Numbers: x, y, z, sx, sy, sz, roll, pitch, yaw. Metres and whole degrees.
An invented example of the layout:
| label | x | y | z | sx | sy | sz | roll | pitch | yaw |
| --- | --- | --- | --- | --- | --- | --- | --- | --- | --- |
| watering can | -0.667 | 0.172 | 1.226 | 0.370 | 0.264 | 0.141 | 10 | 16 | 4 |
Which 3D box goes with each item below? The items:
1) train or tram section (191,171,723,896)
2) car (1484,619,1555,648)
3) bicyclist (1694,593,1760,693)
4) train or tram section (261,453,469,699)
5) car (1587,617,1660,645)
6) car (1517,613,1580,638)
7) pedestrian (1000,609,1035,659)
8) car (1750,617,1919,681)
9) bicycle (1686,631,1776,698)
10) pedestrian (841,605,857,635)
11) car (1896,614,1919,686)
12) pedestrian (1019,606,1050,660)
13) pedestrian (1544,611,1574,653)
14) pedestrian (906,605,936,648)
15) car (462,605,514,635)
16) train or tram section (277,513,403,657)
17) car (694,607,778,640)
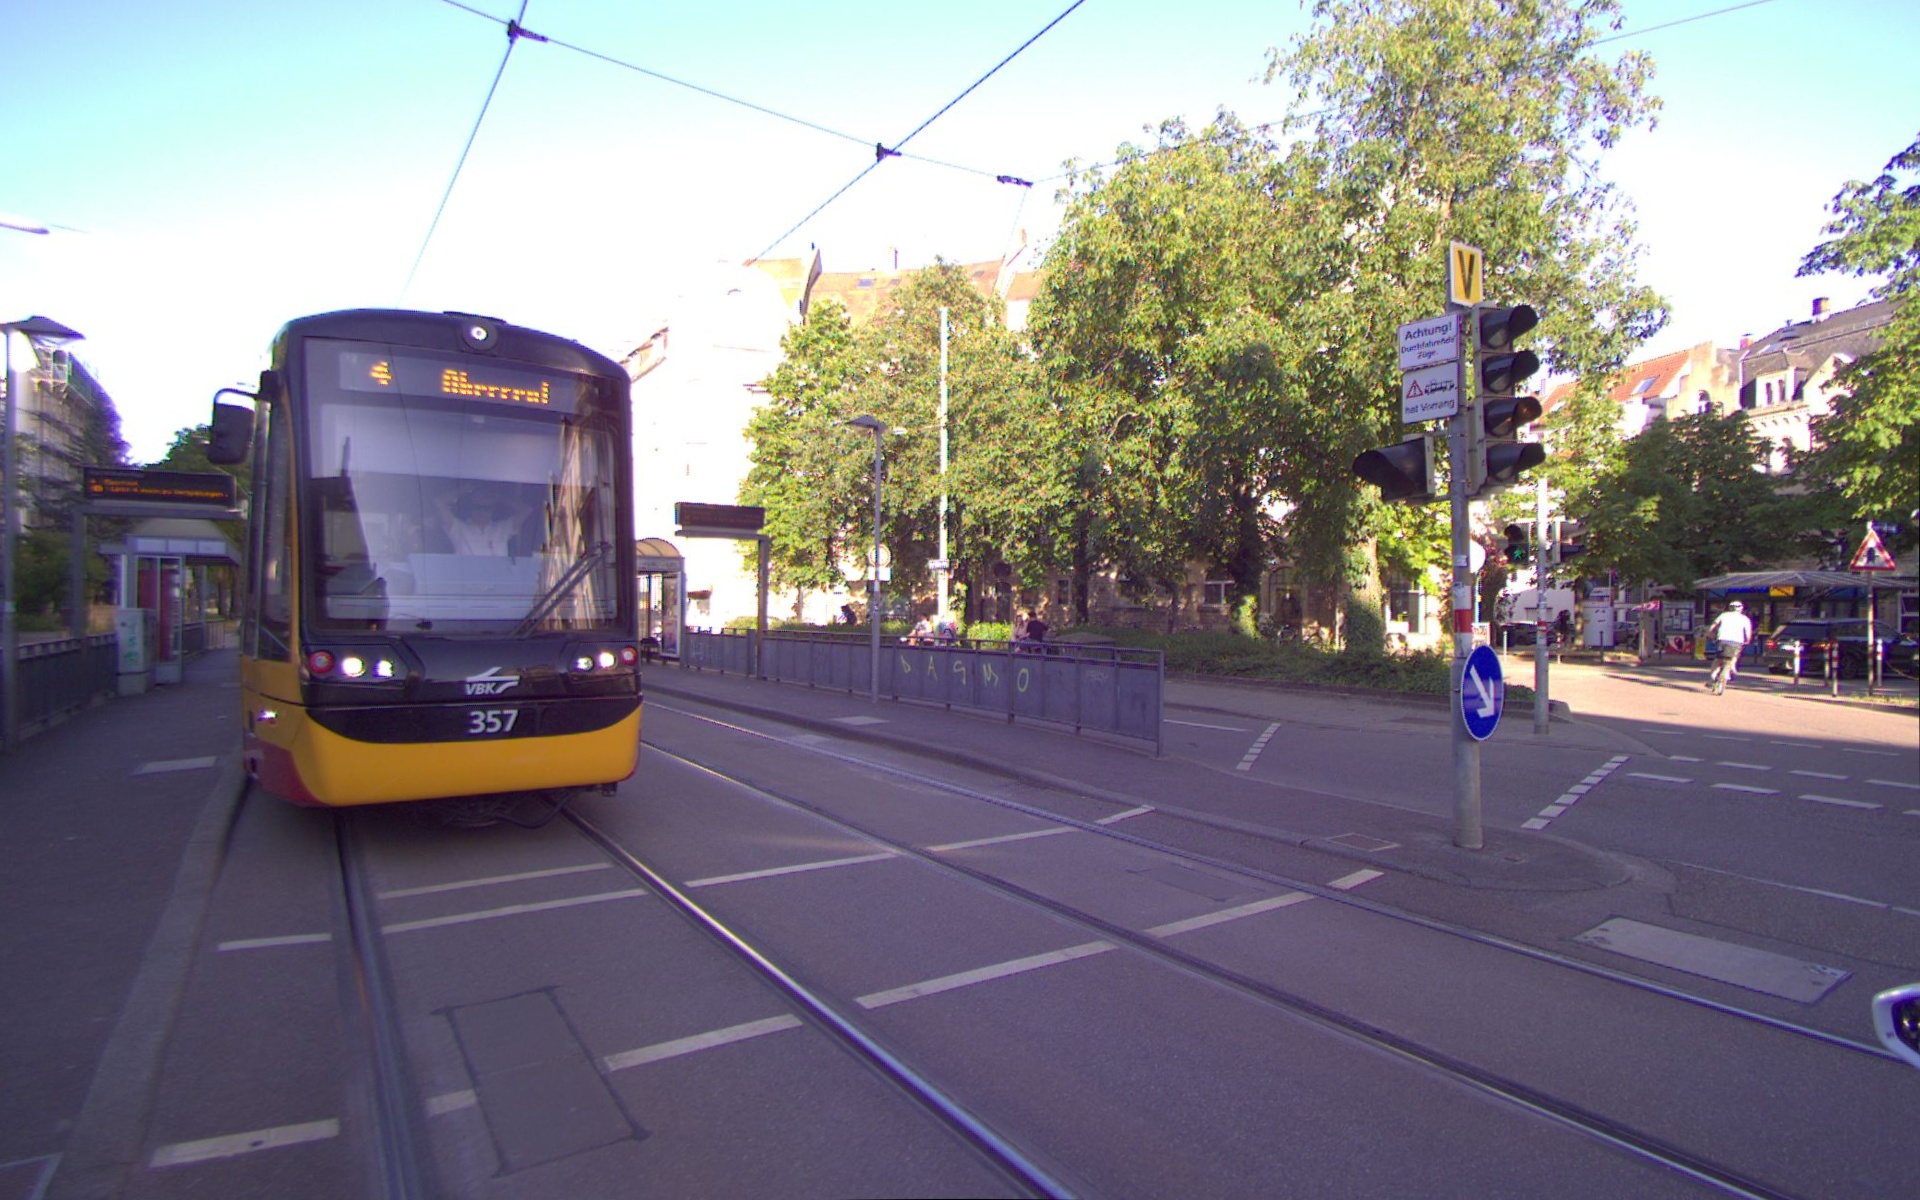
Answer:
| label | x | y | z | sx | sy | sz | roll | pitch | yaw |
| --- | --- | --- | --- | --- | --- | --- | --- | --- | --- |
| train or tram section | -5.948 | -0.321 | 10.746 | 2.771 | 3.668 | 11.690 | 1 | 0 | -33 |
| car | 32.069 | 1.891 | 57.702 | 1.642 | 1.519 | 3.566 | 2 | 0 | -10 |
| bicyclist | 15.340 | 0.834 | 20.108 | 0.781 | 1.939 | 0.945 | 1 | 0 | 21 |
| train or tram section | -12.562 | -0.341 | 20.767 | 2.757 | 3.635 | 12.304 | 1 | 0 | -33 |
| car | 39.562 | 1.853 | 60.002 | 1.642 | 1.519 | 3.566 | 2 | 0 | -10 |
| car | 38.243 | 1.625 | 65.329 | 1.641 | 1.519 | 3.568 | 2 | 0 | -8 |
| pedestrian | 1.590 | 0.934 | 27.825 | 0.806 | 1.361 | 0.666 | 1 | 0 | -16 |
| car | 23.064 | 1.261 | 26.312 | 3.795 | 1.562 | 1.790 | 1 | 0 | -15 |
| bicycle | 15.350 | 1.247 | 20.057 | 0.796 | 1.200 | 2.227 | 1 | -1 | 20 |
| pedestrian | -5.066 | 0.910 | 45.897 | 0.515 | 1.361 | 0.537 | 1 | 0 | 20 |
| car | 24.193 | 1.173 | 22.998 | 4.290 | 1.632 | 1.794 | 1 | 0 | -9 |
| pedestrian | 2.003 | 0.877 | 26.989 | 0.639 | 1.407 | 0.666 | 1 | 0 | -17 |
| pedestrian | 25.588 | 1.349 | 42.912 | 0.704 | 1.773 | 0.882 | 1 | 0 | -13 |
| pedestrian | -1.254 | 0.839 | 32.415 | 0.727 | 1.361 | 0.688 | 1 | 0 | -30 |
| car | -23.709 | 0.972 | 50.394 | 1.770 | 1.428 | 3.961 | 2 | -1 | -35 |
| train or tram section | -19.413 | -0.353 | 31.161 | 2.745 | 3.605 | 12.563 | 1 | 0 | -33 |
| car | -10.237 | 1.059 | 46.014 | 3.410 | 1.428 | 1.564 | 1 | 0 | 3 |
